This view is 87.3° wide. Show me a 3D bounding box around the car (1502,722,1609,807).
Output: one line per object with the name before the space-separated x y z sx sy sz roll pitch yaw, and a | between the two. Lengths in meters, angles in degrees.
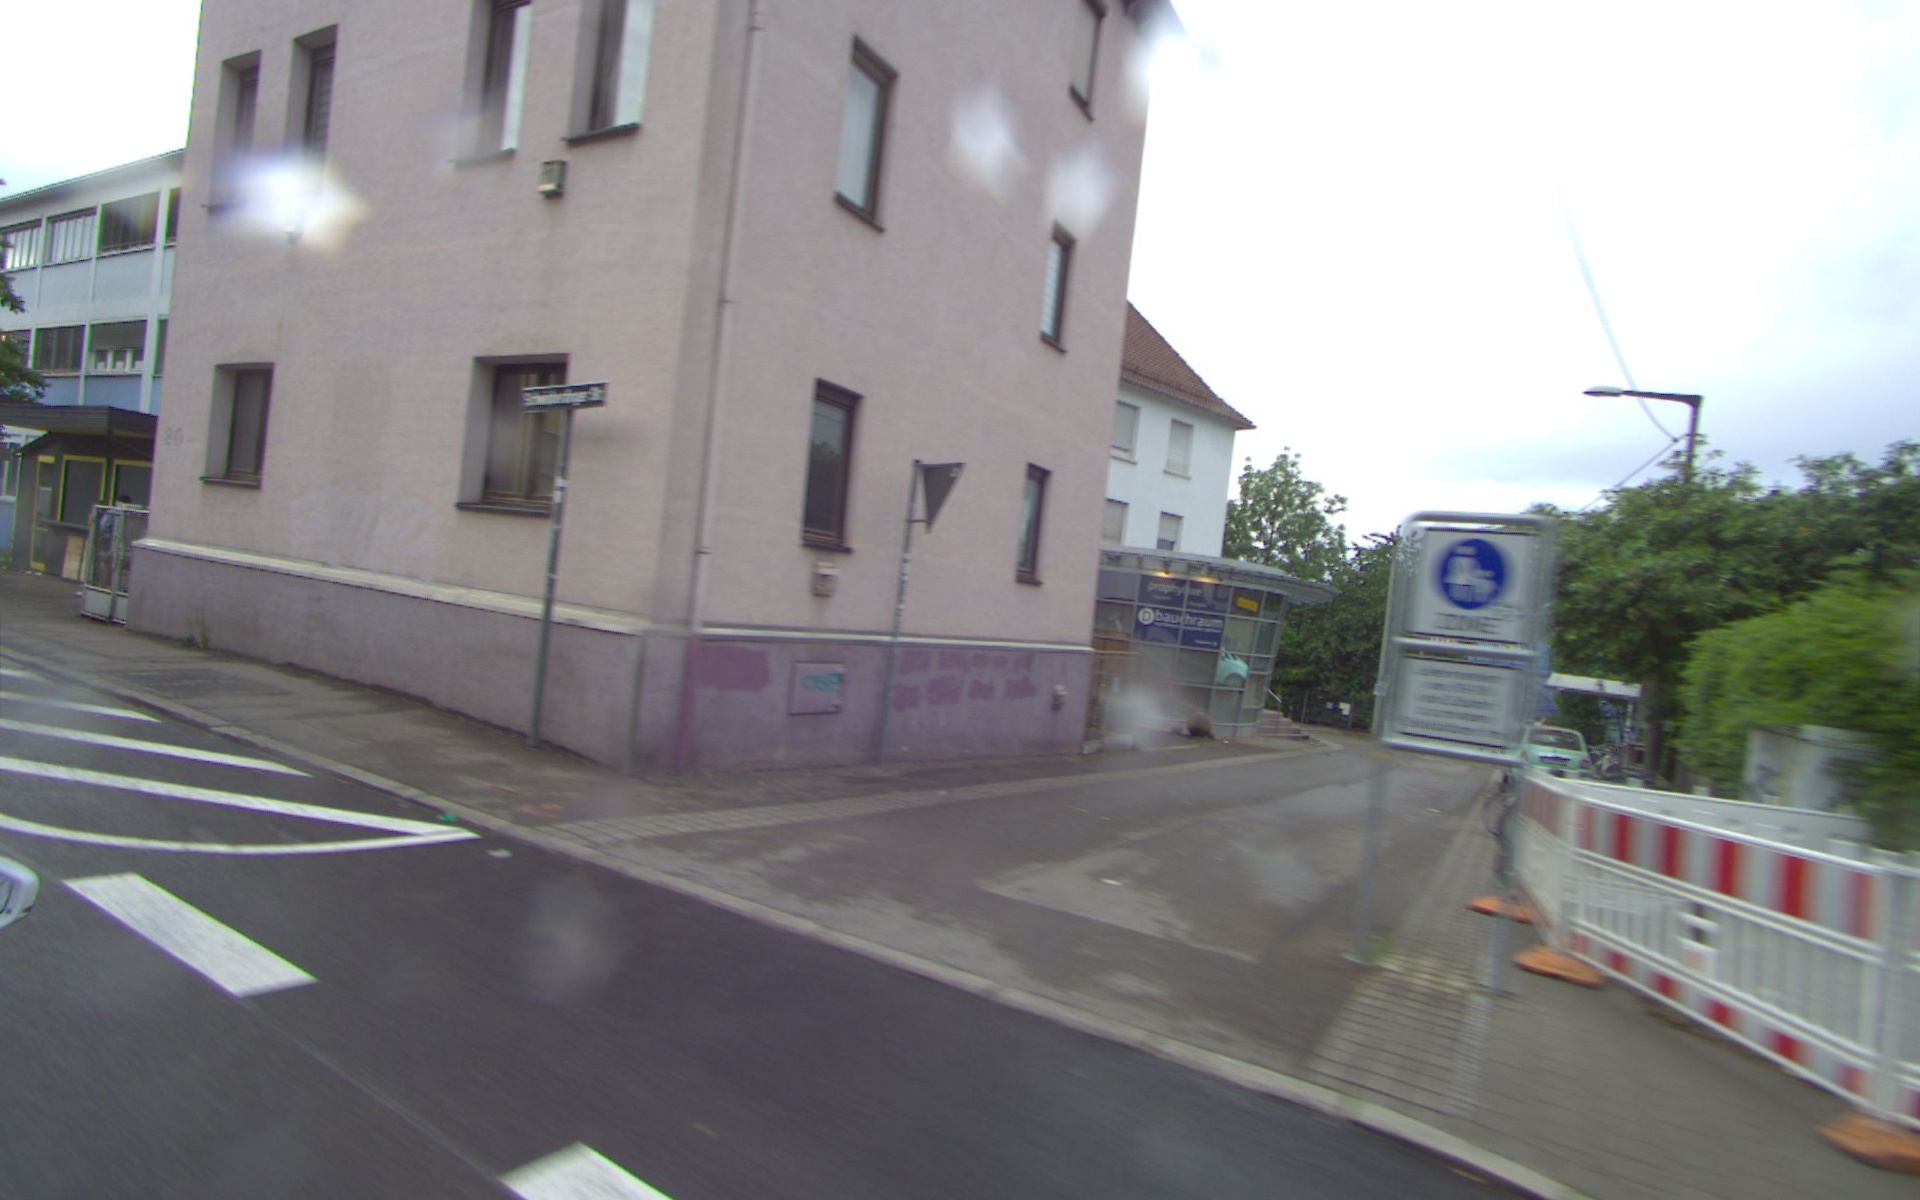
car | 13.621 3.713 23.195 1.819 1.491 3.999 7 -3 29

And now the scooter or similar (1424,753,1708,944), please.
scooter or similar | 4.767 1.922 8.030 1.800 1.091 0.422 6 -2 30

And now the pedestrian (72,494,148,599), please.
pedestrian | -13.945 -0.869 16.510 0.613 1.648 0.674 5 3 2

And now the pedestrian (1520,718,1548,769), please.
pedestrian | 18.665 4.648 32.688 0.567 1.541 0.671 7 -1 37

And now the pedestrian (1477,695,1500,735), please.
pedestrian | 21.418 4.660 40.785 0.567 1.541 0.671 7 -1 37

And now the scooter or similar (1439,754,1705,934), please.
scooter or similar | 5.143 2.021 8.566 1.800 1.112 0.422 6 -2 30

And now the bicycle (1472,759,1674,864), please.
bicycle | 7.360 2.520 12.167 1.995 0.887 0.427 4 -2 31

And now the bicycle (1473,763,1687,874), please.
bicycle | 7.064 2.468 11.560 1.995 0.887 0.427 4 -2 31

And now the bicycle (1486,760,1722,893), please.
bicycle | 6.739 2.346 10.637 1.995 1.008 0.427 4 -2 31

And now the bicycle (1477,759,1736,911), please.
bicycle | 6.219 2.239 9.804 1.994 1.008 0.427 6 -1 31
